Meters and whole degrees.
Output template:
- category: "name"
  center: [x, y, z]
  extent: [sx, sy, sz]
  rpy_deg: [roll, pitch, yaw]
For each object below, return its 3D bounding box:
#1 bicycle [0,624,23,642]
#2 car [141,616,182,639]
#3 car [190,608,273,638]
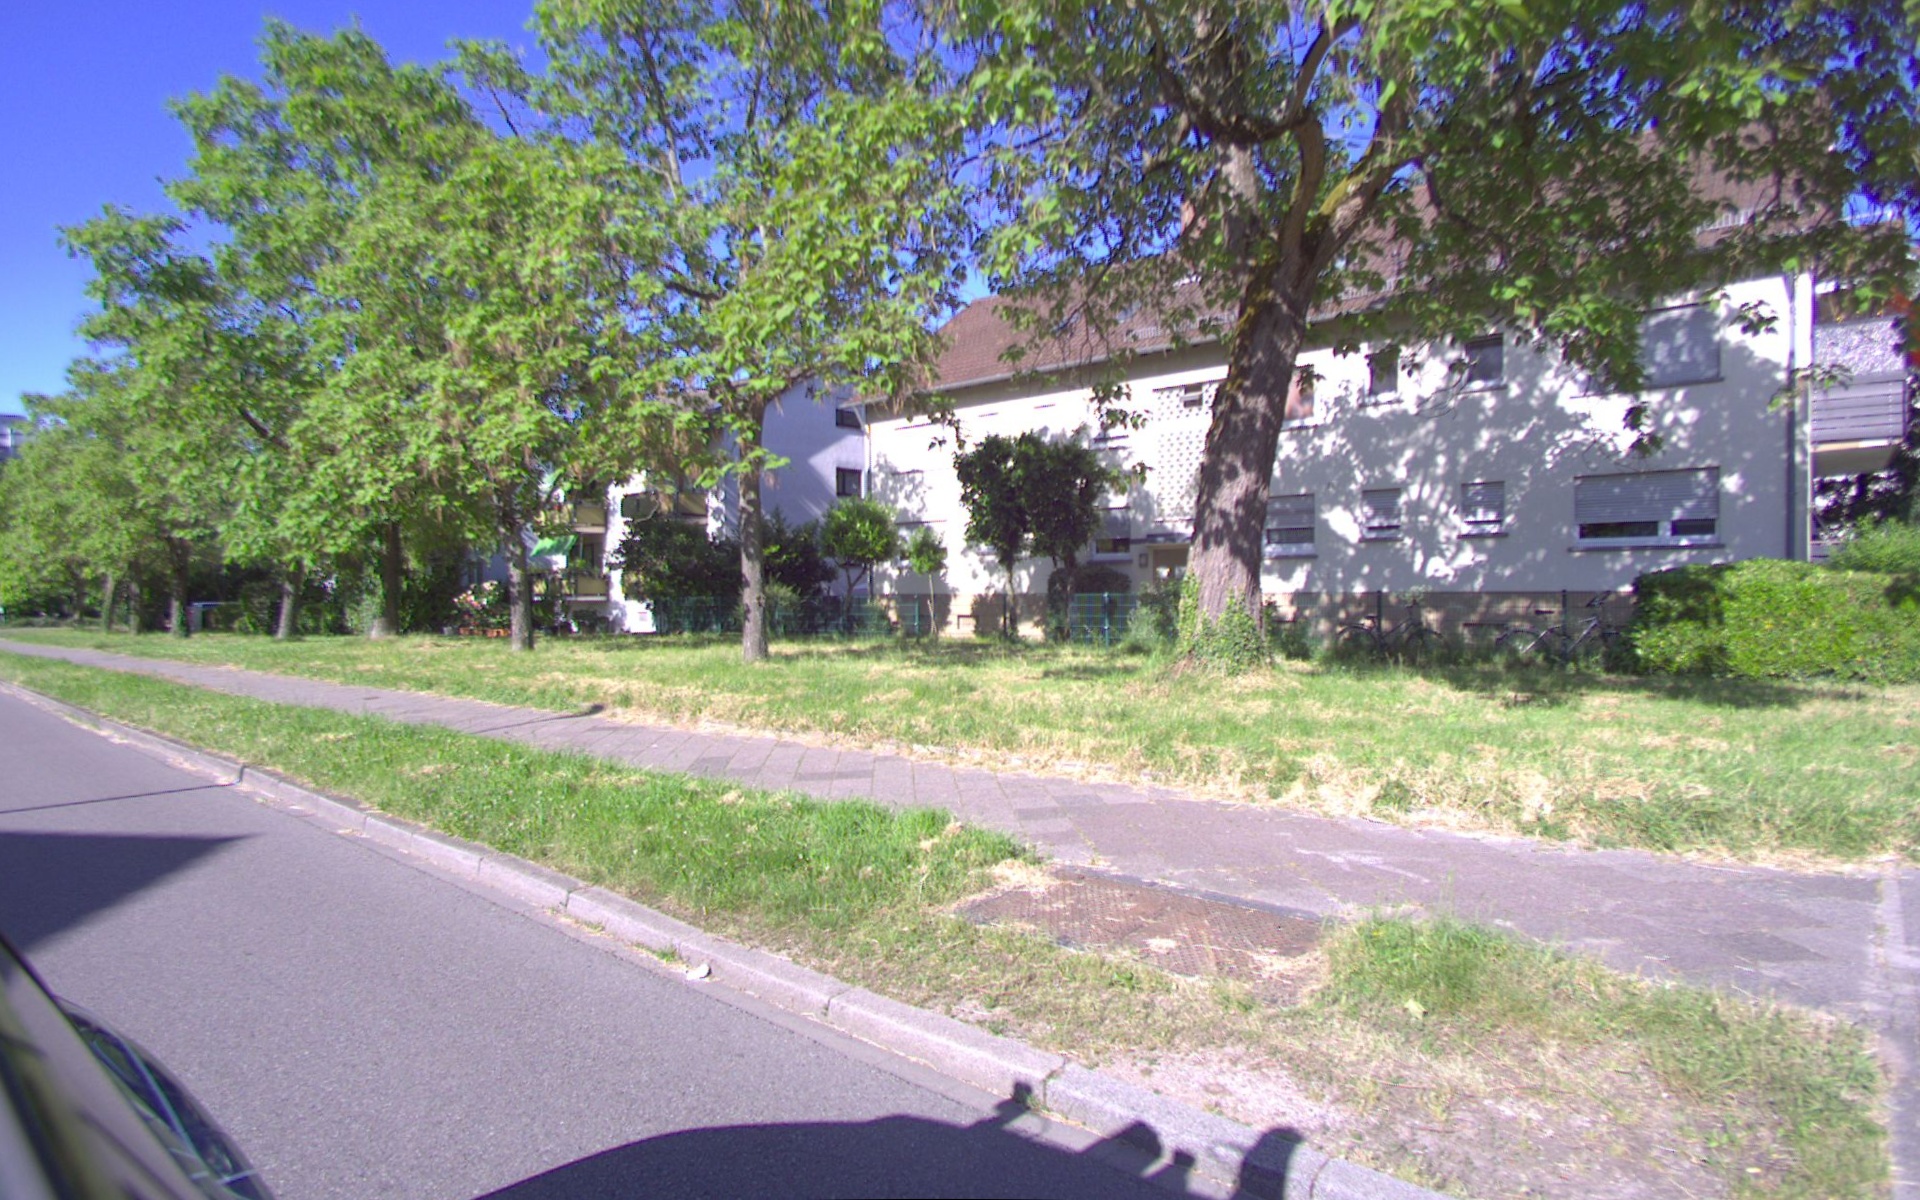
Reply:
- category: "bicycle"
  center: [-67.587, 2.335, 71.601]
  extent: [1.875, 1.161, 0.762]
  rpy_deg: [0, 3, -39]
- category: "car"
  center: [-58.616, 1.985, 74.276]
  extent: [3.883, 1.498, 1.653]
  rpy_deg: [1, 1, 41]
- category: "car"
  center: [-50.453, 1.586, 70.110]
  extent: [2.069, 1.984, 4.402]
  rpy_deg: [-2, -2, 44]
